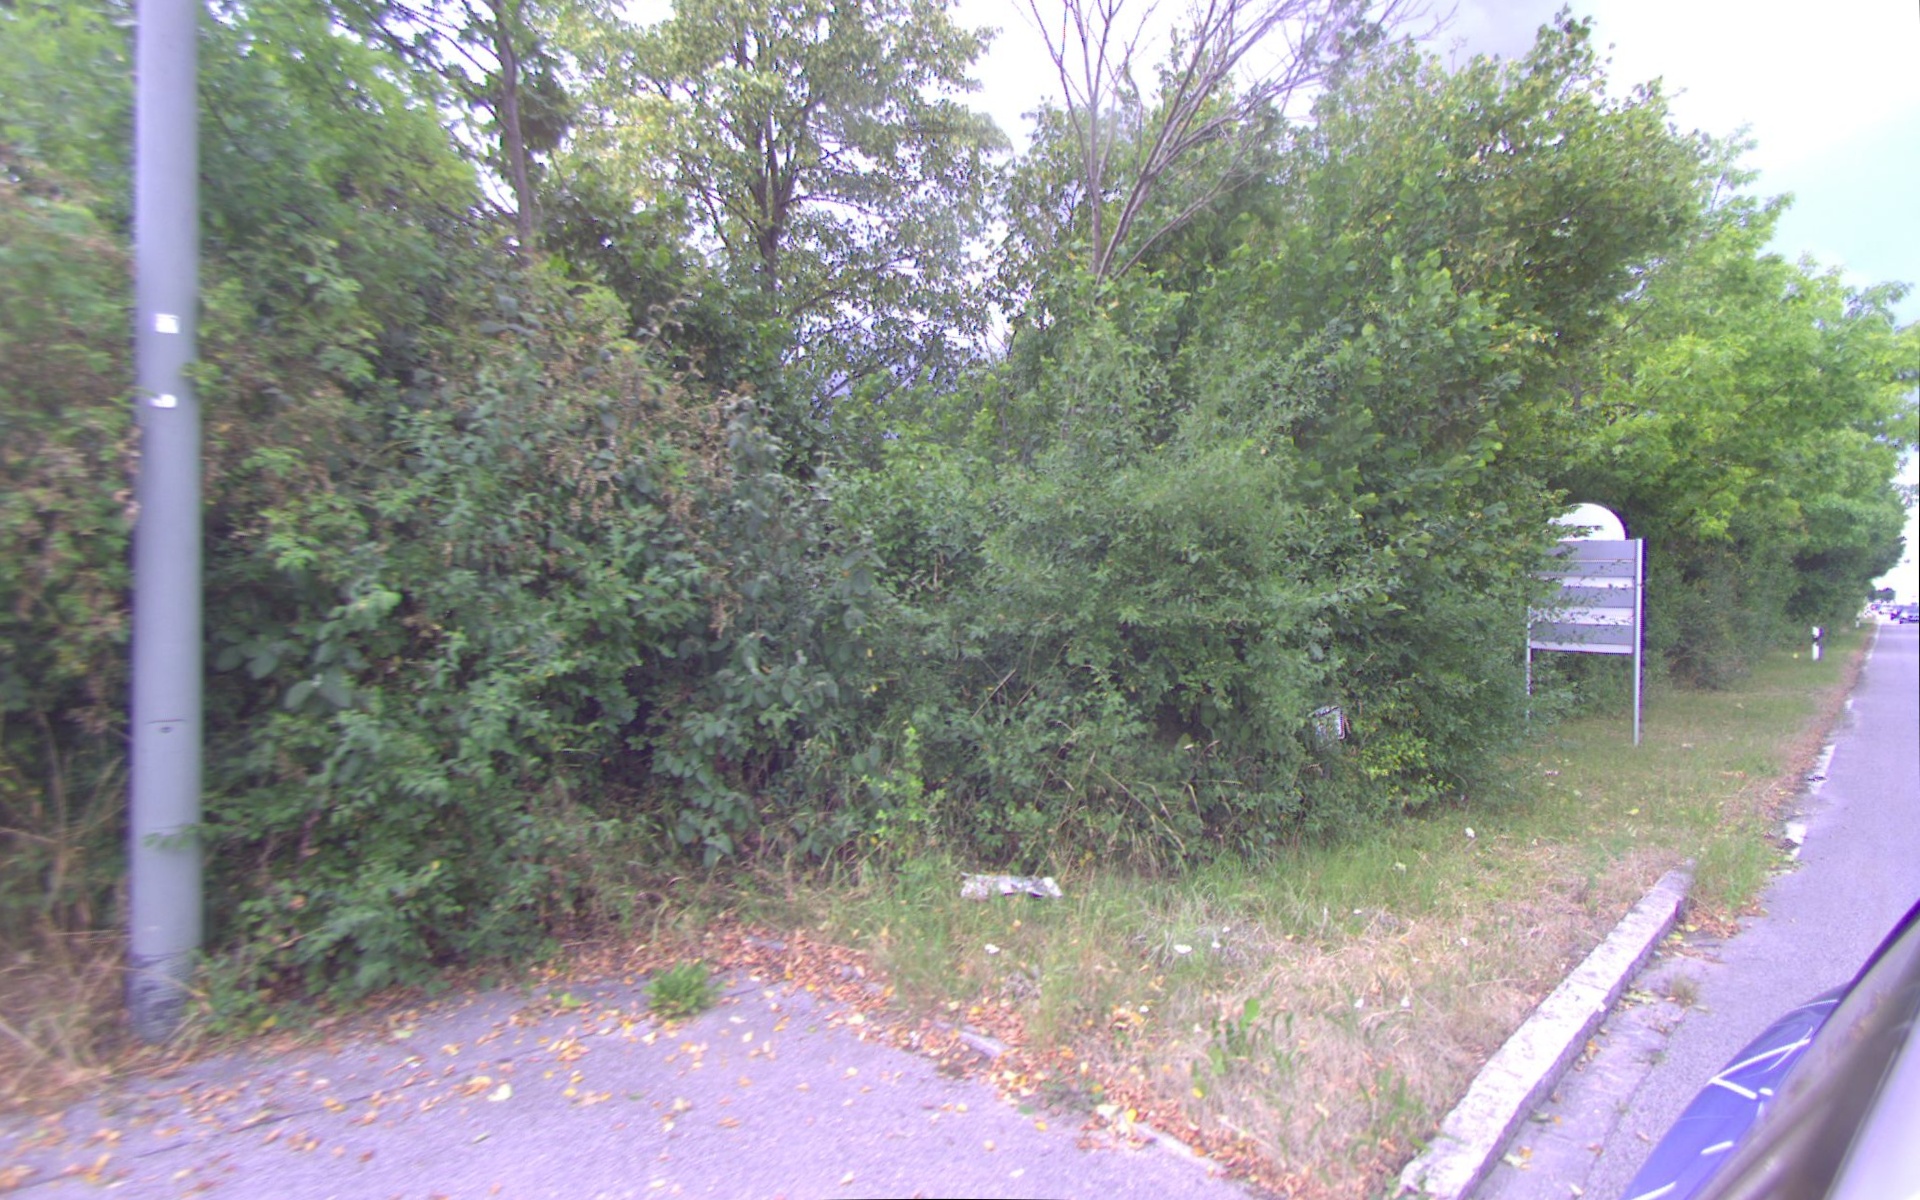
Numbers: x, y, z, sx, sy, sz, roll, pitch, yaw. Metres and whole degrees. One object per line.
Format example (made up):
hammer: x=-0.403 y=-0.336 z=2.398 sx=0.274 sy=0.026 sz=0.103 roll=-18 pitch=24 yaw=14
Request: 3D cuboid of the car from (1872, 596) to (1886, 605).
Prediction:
car: x=155.816 y=0.120 z=171.551 sx=1.773 sy=1.432 sz=4.017 roll=3 pitch=2 yaw=43

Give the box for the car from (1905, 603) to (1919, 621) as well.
car: x=77.026 y=0.983 z=81.051 sx=1.864 sy=1.377 sz=3.767 roll=1 pitch=1 yaw=43
